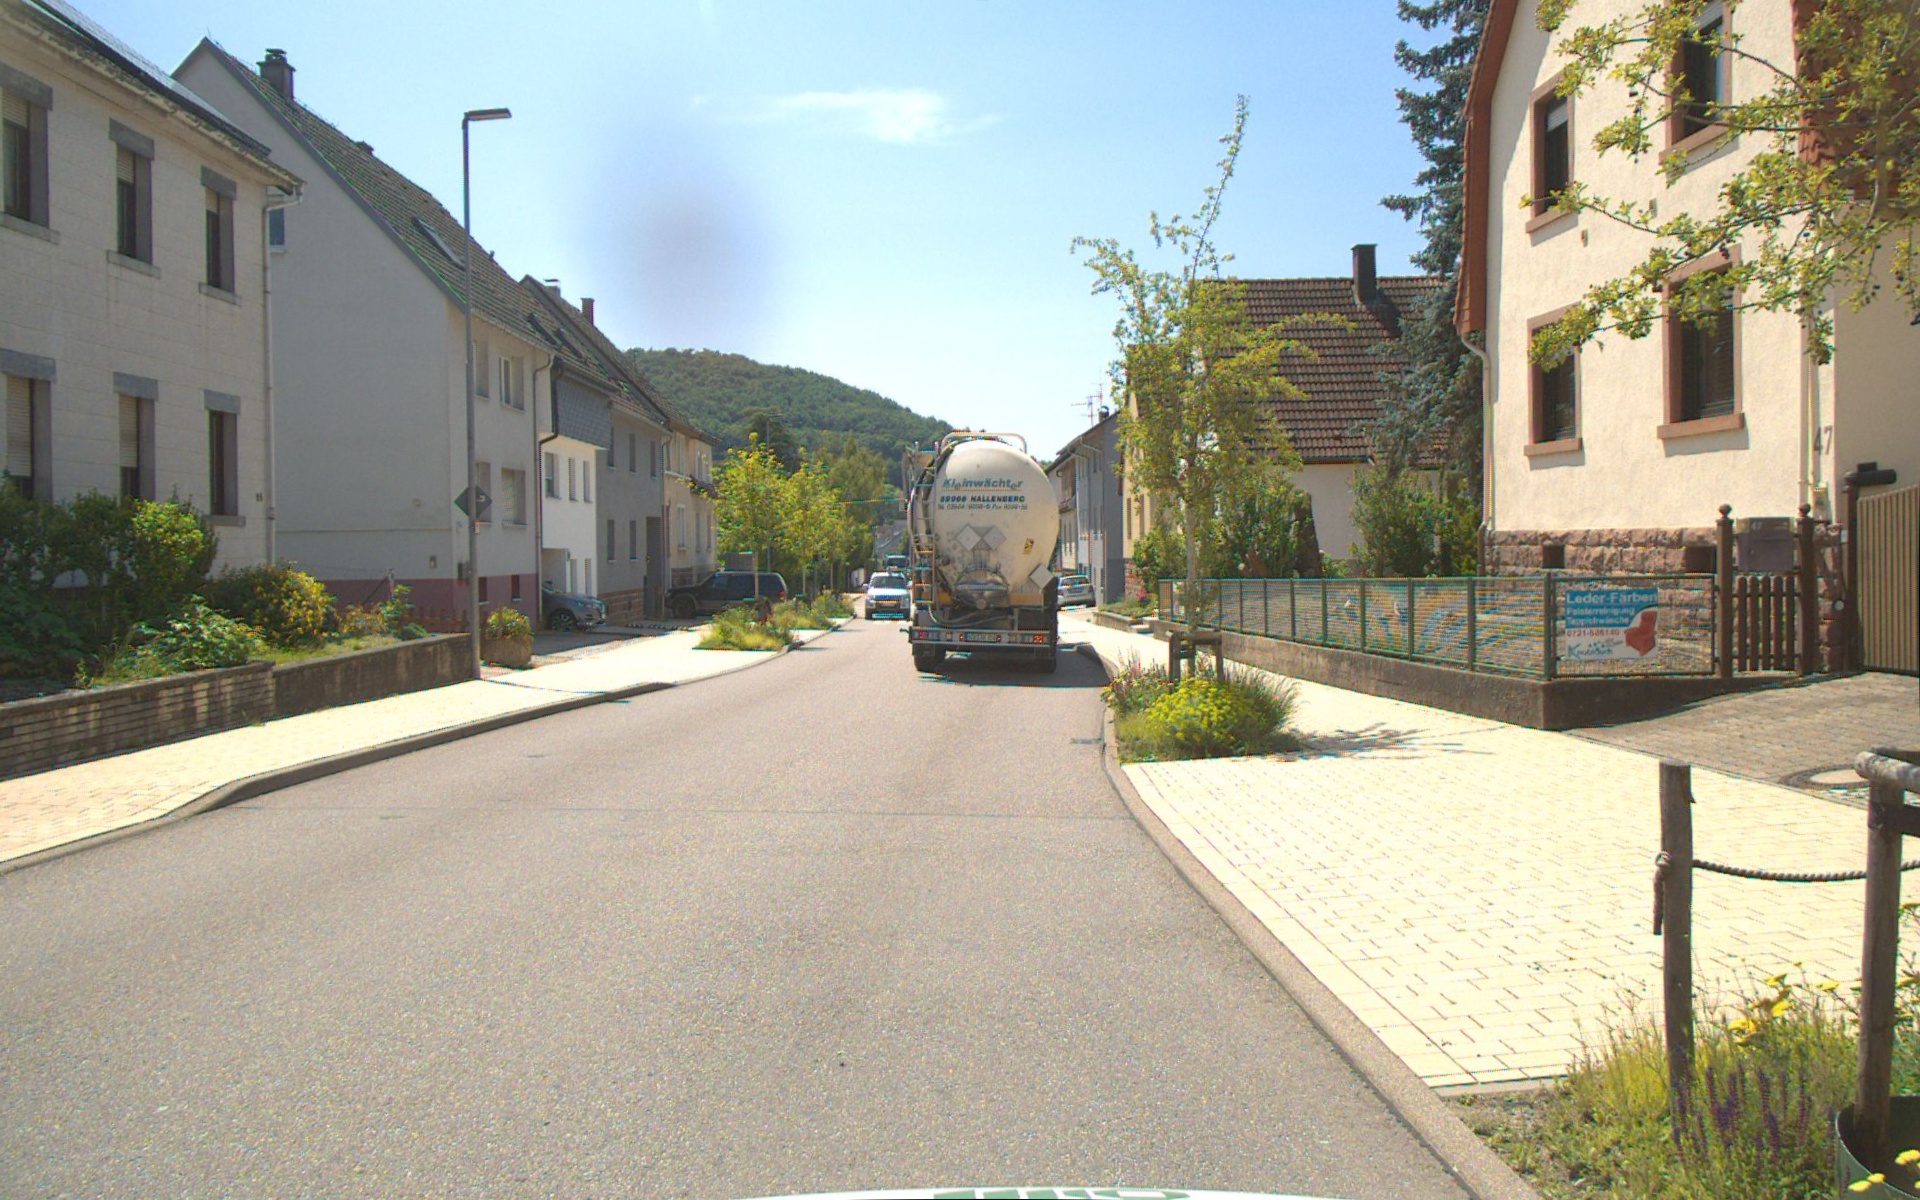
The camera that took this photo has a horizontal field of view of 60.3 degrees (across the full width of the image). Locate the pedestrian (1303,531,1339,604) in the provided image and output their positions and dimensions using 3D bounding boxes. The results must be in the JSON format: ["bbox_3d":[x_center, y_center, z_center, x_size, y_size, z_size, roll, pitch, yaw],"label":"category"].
[{"bbox_3d":[8.436,-0.752,38.643,0.592,1.643,0.552,-5,0,-1],"label":"pedestrian"}]

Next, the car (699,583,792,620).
[{"bbox_3d":[-8.598,0.043,66.265,3.477,1.464,1.694,0,0,33],"label":"car"}]

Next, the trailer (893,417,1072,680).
[{"bbox_3d":[0.541,-0.844,31.080,2.738,4.071,10.327,1,0,2],"label":"trailer"}]

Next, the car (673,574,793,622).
[{"bbox_3d":[-8.494,-0.087,62.133,4.306,1.781,1.877,0,0,-2],"label":"car"}]

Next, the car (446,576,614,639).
[{"bbox_3d":[-11.196,0.185,43.256,3.906,1.572,1.832,0,1,-1],"label":"car"}]

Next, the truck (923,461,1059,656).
[{"bbox_3d":[0.760,-0.890,37.579,2.750,4.005,6.101,1,0,2],"label":"truck"}]

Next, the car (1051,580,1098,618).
[{"bbox_3d":[5.003,-0.071,72.841,1.754,1.568,4.520,-2,0,0],"label":"car"}]

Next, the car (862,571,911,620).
[{"bbox_3d":[-2.951,-0.196,67.402,1.851,1.893,4.577,1,0,-1],"label":"car"}]

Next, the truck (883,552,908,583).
[{"bbox_3d":[-7.181,-3.596,184.803,2.673,3.430,8.632,1,1,-1],"label":"truck"}]
